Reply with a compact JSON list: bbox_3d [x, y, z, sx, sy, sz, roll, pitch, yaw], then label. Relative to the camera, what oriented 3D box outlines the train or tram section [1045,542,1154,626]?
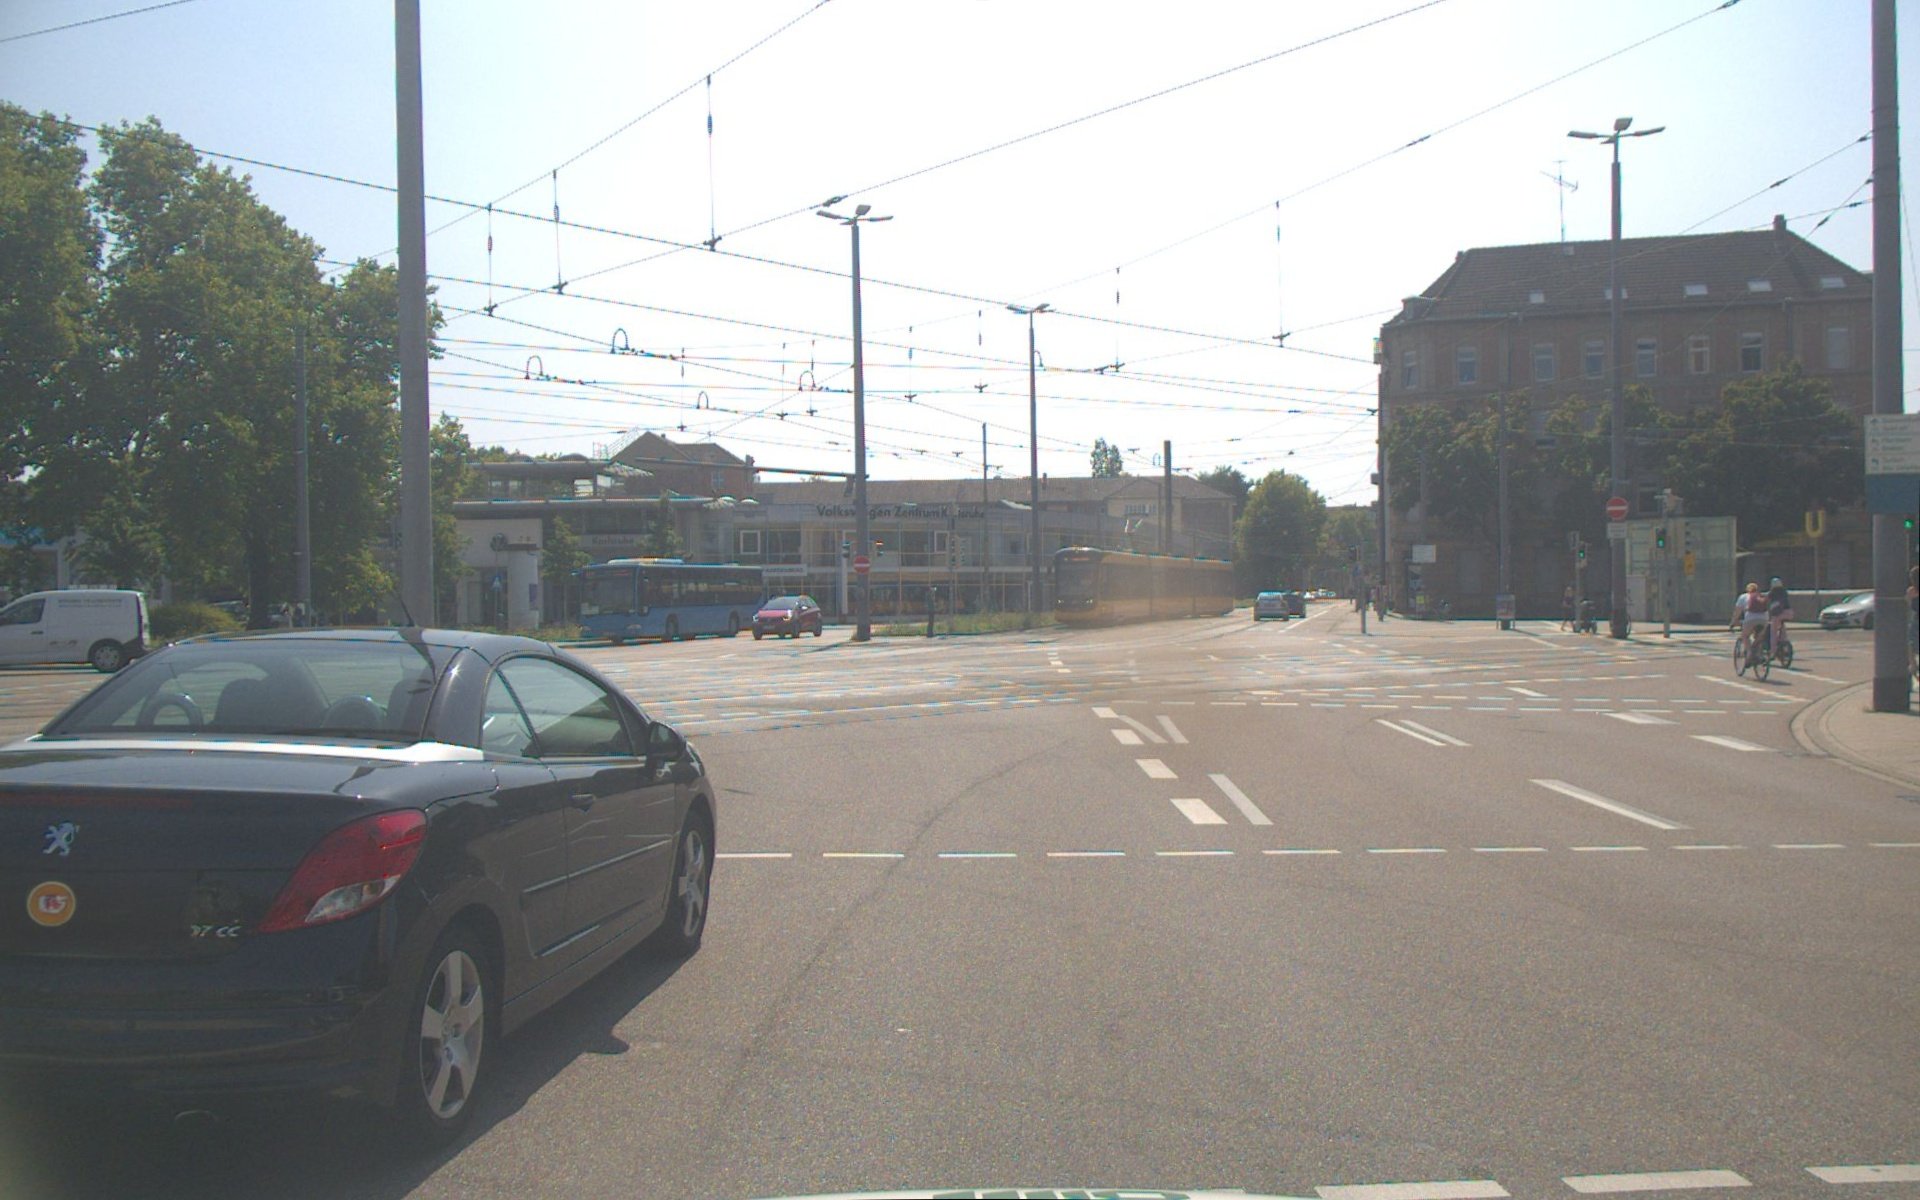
[{"bbox_3d":[6.555,-0.718,75.845,2.534,3.578,10.904,-1,0,18],"label":"train or tram section"}]

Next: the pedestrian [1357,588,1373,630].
[{"bbox_3d":[29.830,0.680,121.783,0.963,3.070,0.975,-1,0,4],"label":"pedestrian"}]

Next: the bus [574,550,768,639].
[{"bbox_3d":[-11.087,-0.233,65.345,2.508,3.136,12.031,-1,0,16],"label":"bus"}]

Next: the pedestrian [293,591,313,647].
[{"bbox_3d":[-20.382,0.586,51.303,0.544,1.713,0.452,-1,0,-19],"label":"pedestrian"}]

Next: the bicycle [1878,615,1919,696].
[{"bbox_3d":[13.253,0.757,22.613,0.481,1.073,1.823,-1,0,4],"label":"bicycle"}]

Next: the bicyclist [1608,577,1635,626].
[{"bbox_3d":[21.465,0.051,53.668,0.603,1.555,0.517,-1,0,-24],"label":"bicyclist"}]

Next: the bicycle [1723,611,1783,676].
[{"bbox_3d":[13.687,0.735,28.571,0.525,1.073,1.655,-1,0,12],"label":"bicycle"}]

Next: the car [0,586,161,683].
[{"bbox_3d":[-20.298,0.741,36.561,4.545,2.049,1.987,-1,0,-22],"label":"car"}]

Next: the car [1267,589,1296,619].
[{"bbox_3d":[18.721,0.213,96.342,1.601,1.646,4.004,-1,0,11],"label":"car"}]

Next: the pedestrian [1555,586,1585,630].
[{"bbox_3d":[22.235,0.286,60.305,0.524,1.572,0.840,-1,0,-41],"label":"pedestrian"}]

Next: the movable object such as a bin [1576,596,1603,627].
[{"bbox_3d":[22.670,0.422,59.573,0.800,1.096,0.509,-1,0,39],"label":"movable object such as a bin"}]

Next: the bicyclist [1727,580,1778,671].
[{"bbox_3d":[13.680,0.437,28.565,0.614,1.544,0.712,-1,0,11],"label":"bicyclist"}]

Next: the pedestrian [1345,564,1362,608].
[{"bbox_3d":[27.602,-0.979,115.932,0.963,3.070,0.975,-1,0,5],"label":"pedestrian"}]

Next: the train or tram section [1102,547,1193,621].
[{"bbox_3d":[9.813,-0.828,85.618,2.534,3.578,9.661,-1,0,20],"label":"train or tram section"}]

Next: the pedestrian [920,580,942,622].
[{"bbox_3d":[-1.003,0.029,57.611,0.666,1.468,0.364,-1,0,-18],"label":"pedestrian"}]

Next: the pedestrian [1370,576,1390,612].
[{"bbox_3d":[19.073,-0.272,75.120,0.686,1.631,0.572,-1,0,-8],"label":"pedestrian"}]

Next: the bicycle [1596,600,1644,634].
[{"bbox_3d":[21.422,0.555,53.698,0.462,1.073,1.643,-1,0,-20],"label":"bicycle"}]

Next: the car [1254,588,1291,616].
[{"bbox_3d":[16.401,0.089,86.605,1.732,1.440,4.192,-1,0,13],"label":"car"}]

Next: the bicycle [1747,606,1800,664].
[{"bbox_3d":[15.942,0.677,32.430,0.525,1.073,1.655,-1,0,12],"label":"bicycle"}]

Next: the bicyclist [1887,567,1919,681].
[{"bbox_3d":[13.245,0.316,22.649,0.718,1.544,0.664,-1,0,4],"label":"bicyclist"}]

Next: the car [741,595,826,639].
[{"bbox_3d":[-6.611,0.624,62.228,1.713,1.579,4.002,-1,0,17],"label":"car"}]

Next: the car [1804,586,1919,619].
[{"bbox_3d":[32.936,0.092,60.091,3.933,1.109,1.986,-1,0,-23],"label":"car"}]

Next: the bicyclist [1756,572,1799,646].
[{"bbox_3d":[15.854,0.170,32.079,0.519,1.417,0.894,-1,0,11],"label":"bicyclist"}]

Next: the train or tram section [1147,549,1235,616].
[{"bbox_3d":[13.573,-1.009,96.279,2.534,3.578,12.976,-1,0,19],"label":"train or tram section"}]

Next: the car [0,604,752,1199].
[{"bbox_3d":[-2.013,0.741,5.759,1.728,1.412,3.784,1,0,6],"label":"car"}]
